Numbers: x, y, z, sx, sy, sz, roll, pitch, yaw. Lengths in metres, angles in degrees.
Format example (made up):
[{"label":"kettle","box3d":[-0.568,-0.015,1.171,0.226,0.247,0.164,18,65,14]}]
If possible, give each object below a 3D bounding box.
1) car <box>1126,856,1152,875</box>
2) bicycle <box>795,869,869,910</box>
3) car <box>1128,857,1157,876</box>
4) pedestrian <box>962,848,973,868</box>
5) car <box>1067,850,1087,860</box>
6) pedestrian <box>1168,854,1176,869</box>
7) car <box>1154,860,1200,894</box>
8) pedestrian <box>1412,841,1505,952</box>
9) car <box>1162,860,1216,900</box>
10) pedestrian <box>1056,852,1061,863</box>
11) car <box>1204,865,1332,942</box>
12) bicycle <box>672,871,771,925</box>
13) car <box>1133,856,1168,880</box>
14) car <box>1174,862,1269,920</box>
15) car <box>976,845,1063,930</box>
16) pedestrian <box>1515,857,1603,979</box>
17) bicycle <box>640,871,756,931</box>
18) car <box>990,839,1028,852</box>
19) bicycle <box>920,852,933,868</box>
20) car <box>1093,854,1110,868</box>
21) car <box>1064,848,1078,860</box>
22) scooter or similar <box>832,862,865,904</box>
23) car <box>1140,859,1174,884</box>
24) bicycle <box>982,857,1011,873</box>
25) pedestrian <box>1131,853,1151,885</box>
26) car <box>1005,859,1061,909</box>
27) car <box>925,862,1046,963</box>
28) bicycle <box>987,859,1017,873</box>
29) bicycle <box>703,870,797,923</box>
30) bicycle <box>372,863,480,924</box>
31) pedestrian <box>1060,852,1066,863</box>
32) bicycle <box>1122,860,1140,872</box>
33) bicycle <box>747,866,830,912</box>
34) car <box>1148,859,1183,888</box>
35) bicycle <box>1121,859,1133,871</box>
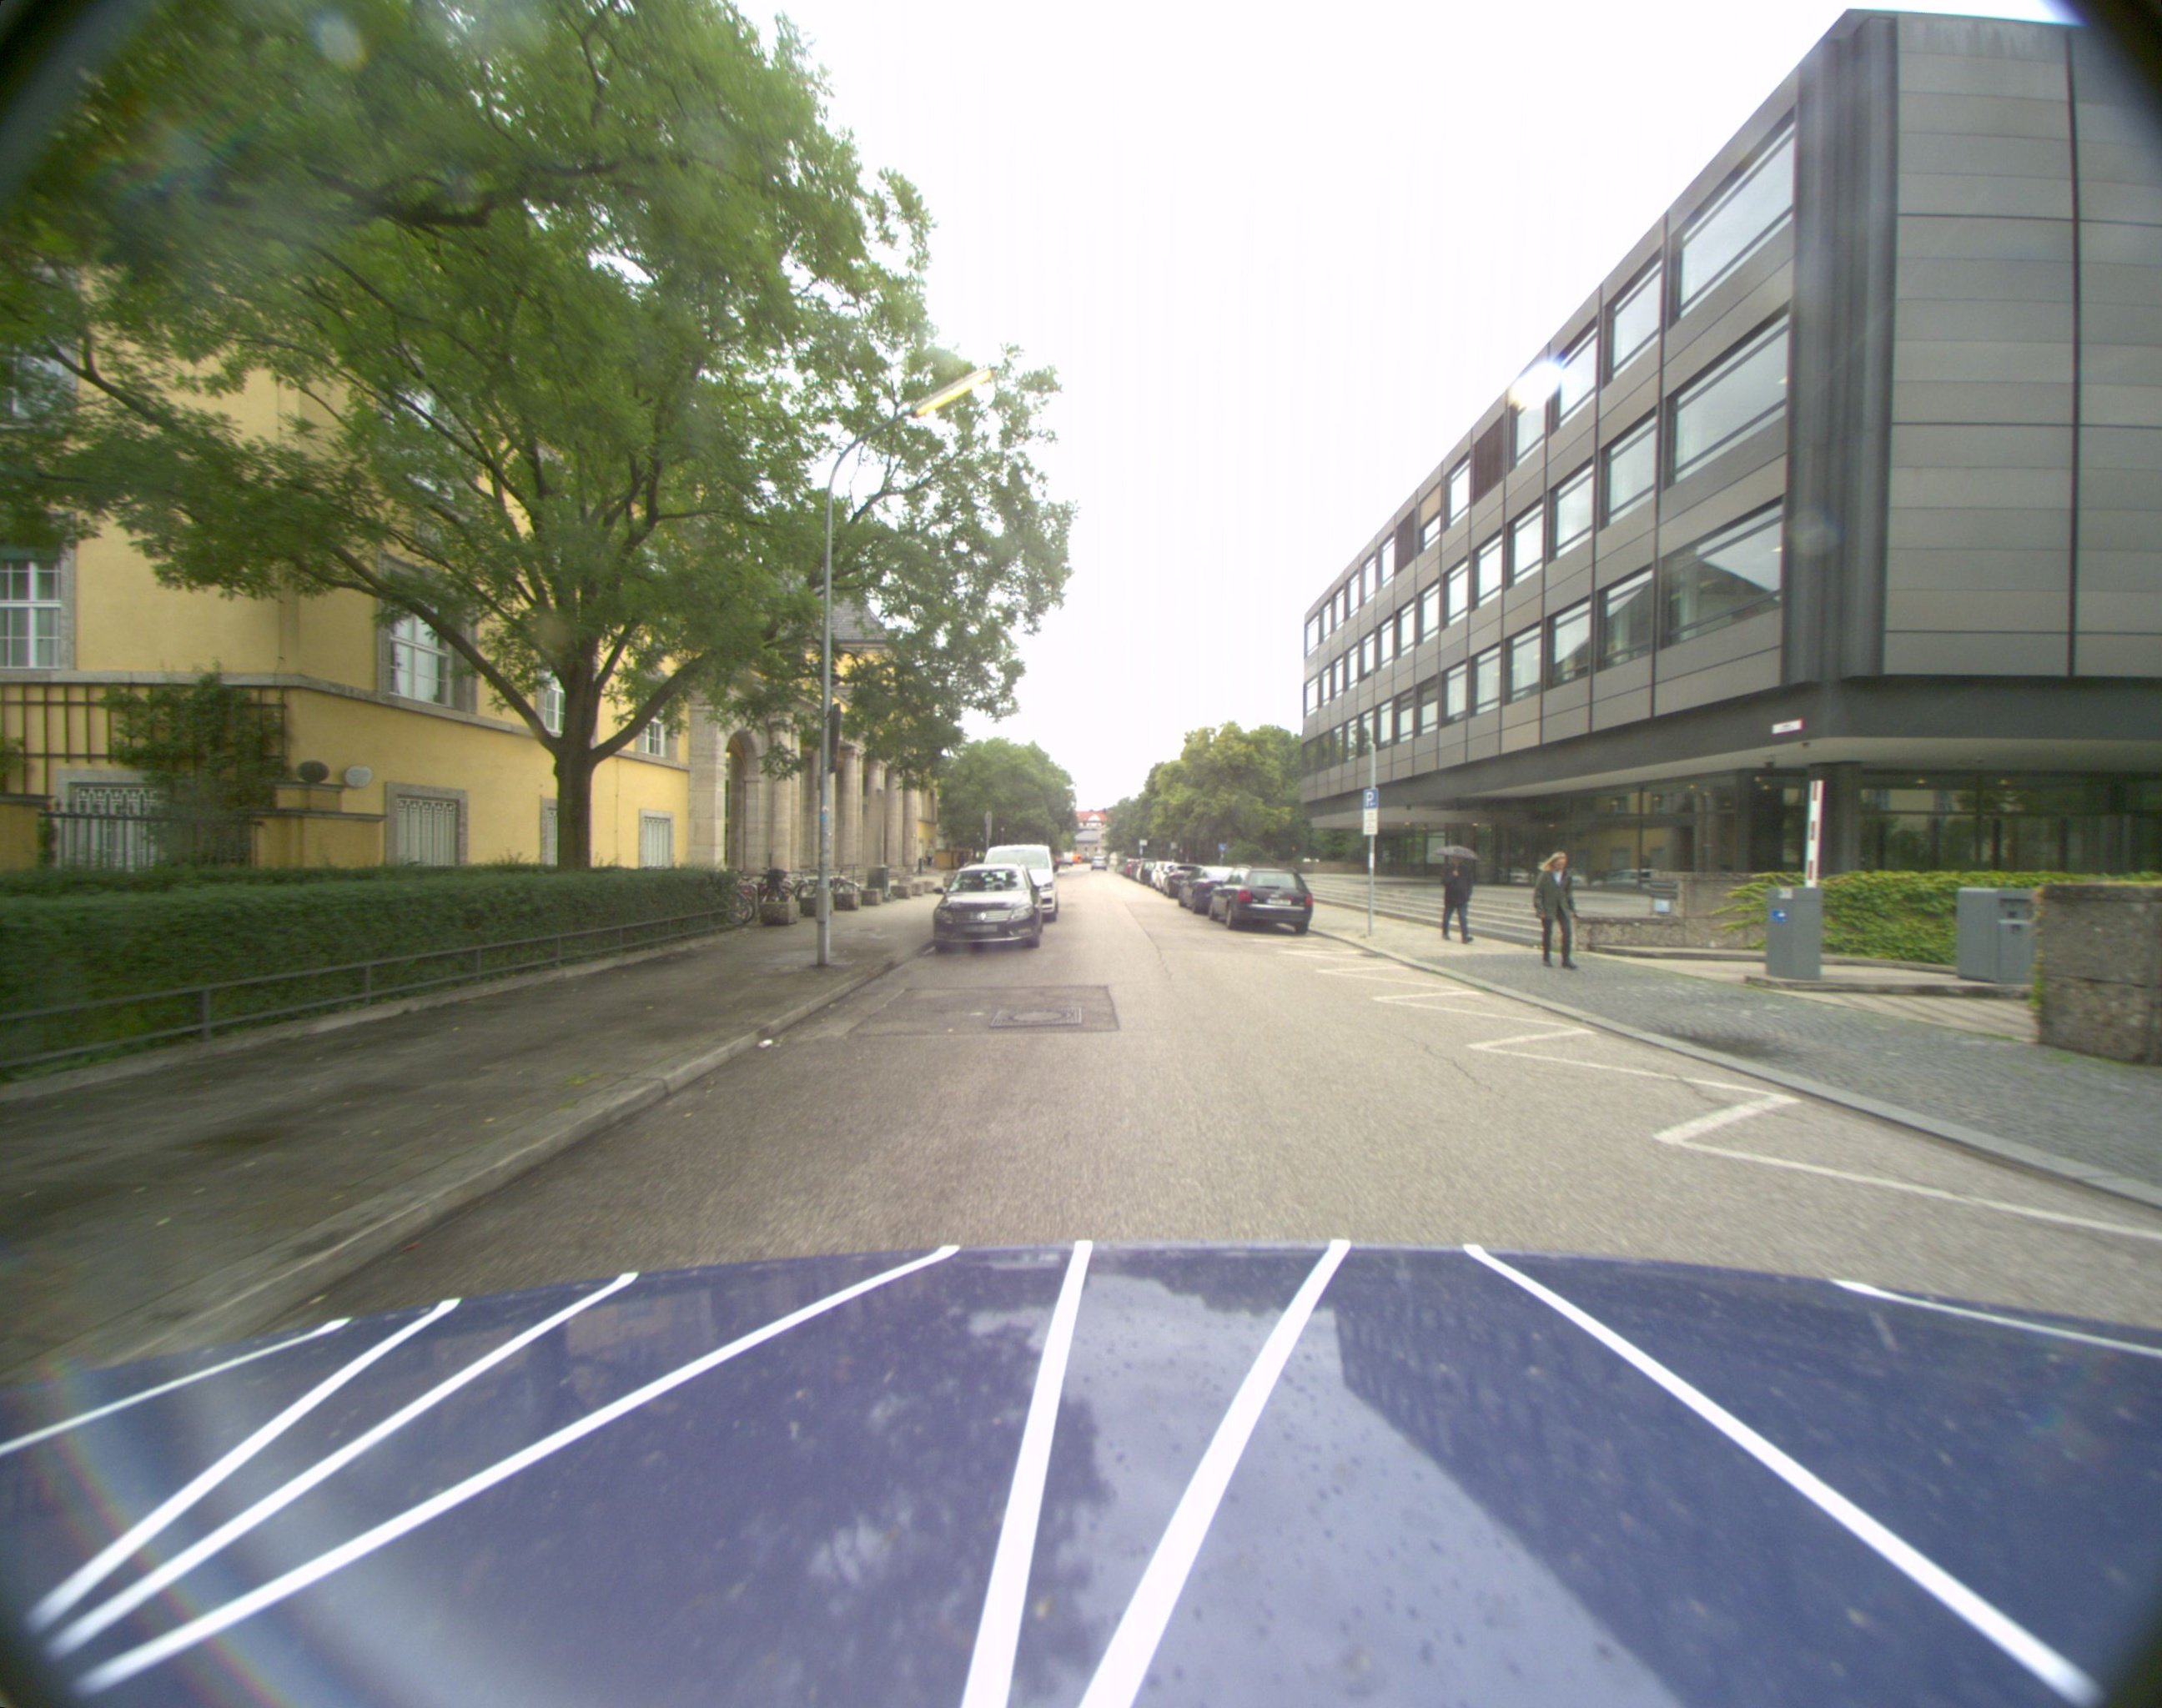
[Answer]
[{"label":"car","box3d":[4.891,0.964,64.899,1.998,1.535,4.364,1,0,2]},{"label":"bicycle","box3d":[-7.105,1.004,21.724,1.937,1.107,0.471,2,0,-2]},{"label":"car","box3d":[4.786,0.953,59.975,1.998,1.452,4.647,1,0,2]},{"label":"pedestrian","box3d":[-10.181,0.344,68.056,0.790,1.736,1.056,1,1,0]},{"label":"car","box3d":[-1.209,0.237,208.939,4.973,2.521,2.578,-1,1,44]},{"label":"pedestrian","box3d":[10.563,0.871,88.146,0.798,1.721,0.660,-2,1,-1]},{"label":"car","box3d":[4.631,1.075,37.100,1.685,1.432,4.279,3,0,1]},{"label":"pedestrian","box3d":[7.316,0.790,14.798,1.138,2.043,1.221,1,1,0]},{"label":"car","box3d":[4.470,1.041,32.065,1.744,1.452,4.237,3,0,2]},{"label":"pedestrian","box3d":[-3.811,0.668,130.069,0.777,1.855,0.997,-2,1,-7]},{"label":"car","box3d":[4.350,1.074,18.504,1.998,1.482,4.883,2,0,2]},{"label":"bicycle","box3d":[-7.881,0.958,16.681,1.936,1.107,0.471,2,0,2]},{"label":"car","box3d":[4.828,0.929,53.461,1.998,1.573,4.522,1,0,0]},{"label":"car","box3d":[4.249,1.075,23.768,1.928,1.431,4.917,3,1,-1]},{"label":"car","box3d":[-1.497,0.789,20.399,1.850,1.922,5.272,-2,0,0]},{"label":"pedestrian","box3d":[7.149,0.926,11.401,0.754,1.739,0.953,-1,0,7]},{"label":"bicycle","box3d":[-7.636,0.927,15.188,2.037,1.107,0.471,2,0,-2]},{"label":"car","box3d":[-9.558,-1.149,100.950,4.909,1.672,1.966,1,0,-2]},{"label":"bicycle","box3d":[-12.843,0.489,63.270,0.601,1.299,2.264,1,0,1]},{"label":"car","box3d":[2.643,0.842,97.606,2.029,1.679,4.678,1,0,2]},{"label":"car","box3d":[-1.924,-0.042,146.075,2.236,2.289,4.728,-2,1,-5]},{"label":"scooter or similar","box3d":[-7.051,0.856,23.014,0.539,1.215,1.009,1,1,-44]},{"label":"car","box3d":[4.738,1.081,47.766,1.762,1.392,4.218,4,0,2]},{"label":"bicycle","box3d":[-7.018,0.872,62.798,2.265,1.088,0.601,6,1,-10]},{"label":"pedestrian","box3d":[3.345,0.851,42.436,0.893,1.741,0.690,3,0,-8]},{"label":"car","box3d":[-1.556,0.950,25.502,1.609,1.537,2.934,-1,0,1]},{"label":"car","box3d":[-1.608,0.950,14.419,1.776,1.481,4.972,-2,0,-2]},{"label":"bicycle","box3d":[-6.426,0.934,61.543,2.370,1.000,0.677,3,0,-8]},{"label":"bicycle","box3d":[-7.602,0.969,17.467,1.936,1.107,0.471,2,0,3]},{"label":"bicycle","box3d":[-13.309,0.768,15.510,0.543,1.147,1.902,1,0,0]},{"label":"pedestrian","box3d":[-3.101,0.644,130.268,0.777,1.855,0.997,-2,1,-6]},{"label":"bicycle","box3d":[5.035,1.203,75.973,1.700,1.101,0.598,0,1,-8]},{"label":"bicycle","box3d":[-7.522,0.891,19.586,1.936,1.107,0.471,2,0,3]},{"label":"car","box3d":[4.702,1.045,42.669,1.547,1.462,3.553,2,0,0]},{"label":"bicycle","box3d":[4.694,1.122,77.503,0.574,1.275,1.422,-1,0,33]}]
